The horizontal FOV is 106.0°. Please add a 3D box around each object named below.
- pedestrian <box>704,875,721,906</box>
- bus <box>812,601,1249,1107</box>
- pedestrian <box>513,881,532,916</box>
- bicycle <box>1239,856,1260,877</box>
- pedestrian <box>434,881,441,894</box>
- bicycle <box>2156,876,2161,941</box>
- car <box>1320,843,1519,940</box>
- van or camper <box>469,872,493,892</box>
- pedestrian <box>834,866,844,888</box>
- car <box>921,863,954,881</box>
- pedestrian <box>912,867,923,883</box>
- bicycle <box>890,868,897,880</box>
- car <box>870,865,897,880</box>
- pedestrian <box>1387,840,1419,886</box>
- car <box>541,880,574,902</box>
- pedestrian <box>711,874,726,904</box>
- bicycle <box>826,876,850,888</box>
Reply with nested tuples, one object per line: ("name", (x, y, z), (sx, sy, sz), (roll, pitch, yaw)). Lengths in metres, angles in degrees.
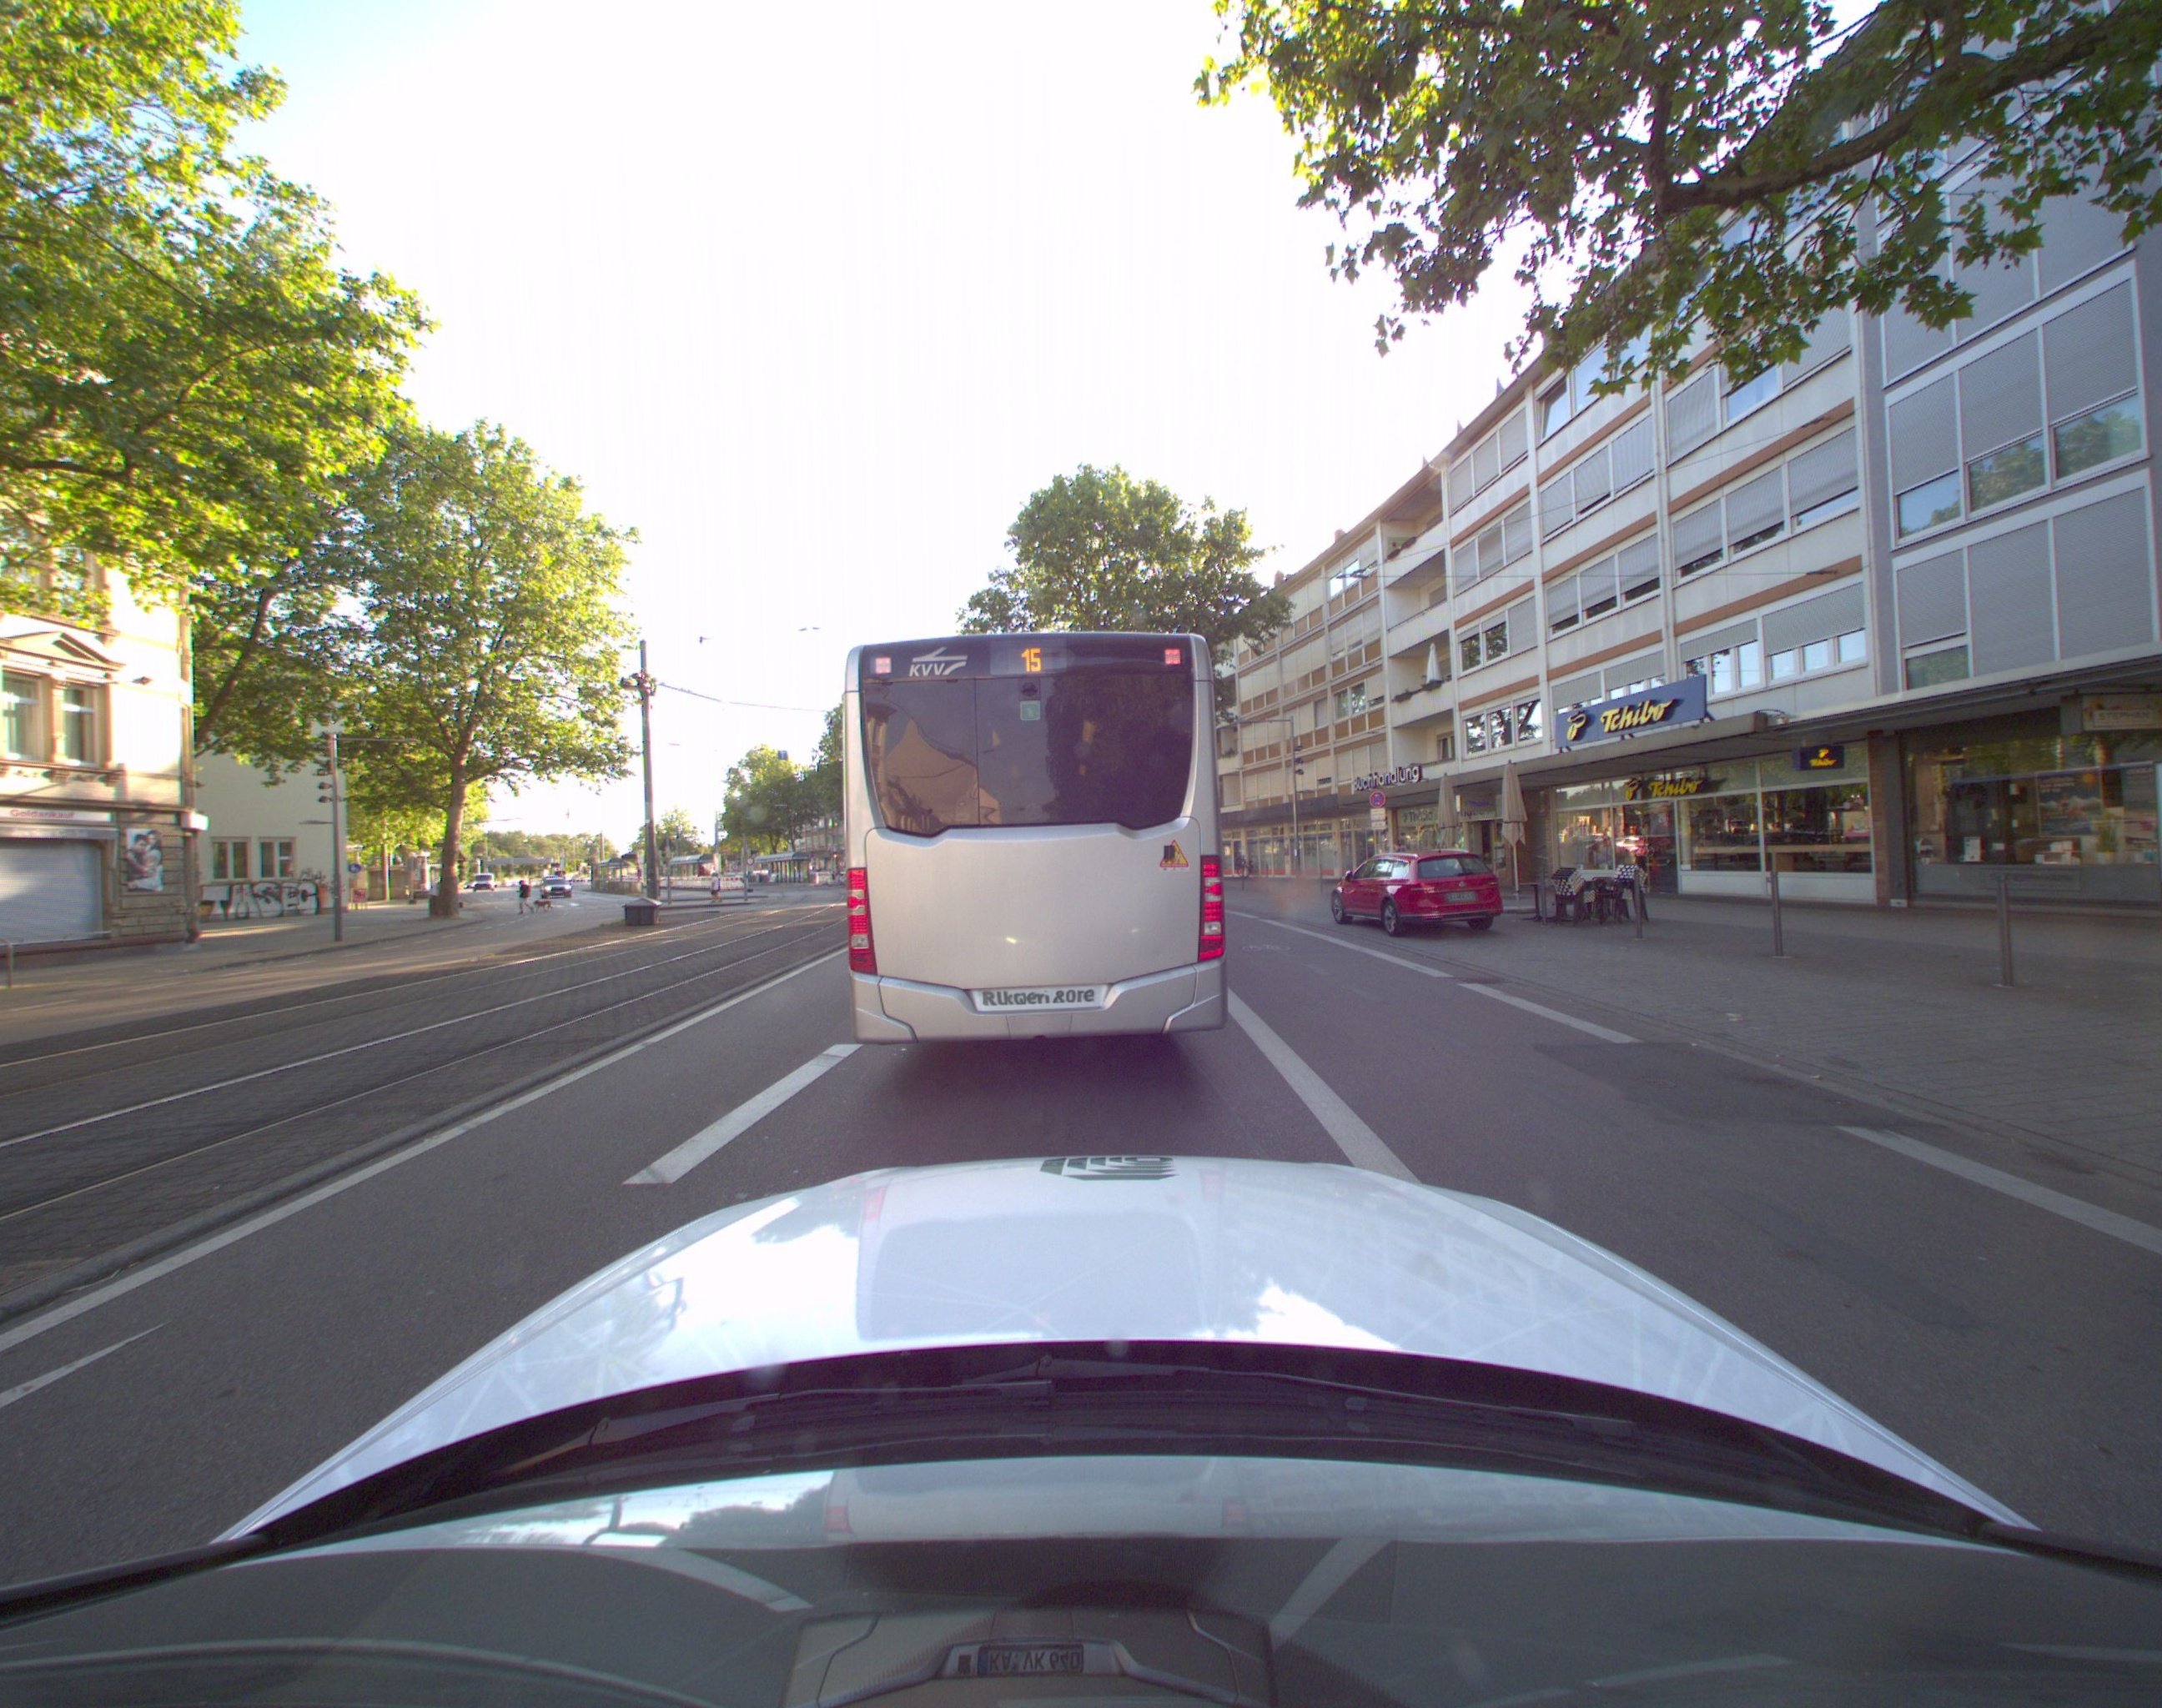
("pedestrian", (-18.315, 1.810, 40.483), (0.517, 1.504, 0.595), (-2, -1, 8))
("bus", (-0.306, 0.045, 10.257), (2.649, 3.099, 10.214), (-2, -1, 0))
("pedestrian", (-28.007, 2.243, 40.825), (0.426, 1.710, 0.681), (-1, -1, 33))
("bicycle", (9.367, 0.700, 45.380), (0.438, 1.092, 1.453), (-5, 0, -18))
("pedestrian", (-73.741, 3.811, 93.317), (0.519, 1.504, 0.552), (-2, -1, -36))
("bicycle", (8.715, 0.670, 5.518), (0.294, 1.040, 1.711), (-5, 0, -12))
("car", (6.358, 0.640, 15.963), (1.774, 1.496, 4.563), (-4, 0, -2))
("van or camper", (-74.671, 3.475, 101.393), (2.184, 2.319, 5.048), (-4, 1, -36))
("pedestrian", (-20.010, 1.906, 67.250), (0.721, 1.725, 0.397), (-2, -1, -15))
("car", (-13.788, 1.737, 78.162), (1.675, 1.516, 3.376), (-6, 2, -35))
("pedestrian", (-13.833, 1.740, 68.775), (0.779, 1.303, 0.590), (-2, -1, -19))
("bicycle", (-19.696, 2.114, 85.582), (0.508, 1.211, 2.079), (-2, 0, -19))
("car", (-21.527, 2.059, 88.729), (1.675, 1.468, 3.375), (-6, 2, -36))
("pedestrian", (11.098, 0.313, 28.074), (0.640, 1.552, 0.804), (-2, -1, -13))
("car", (-39.815, 2.793, 61.886), (1.900, 1.472, 4.161), (-2, -1, -35))
("pedestrian", (-18.288, 1.763, 41.083), (0.406, 1.504, 0.518), (-2, -1, 7))
("bicycle", (-20.178, 2.343, 67.696), (1.843, 0.942, 0.461), (-2, -1, -15))
